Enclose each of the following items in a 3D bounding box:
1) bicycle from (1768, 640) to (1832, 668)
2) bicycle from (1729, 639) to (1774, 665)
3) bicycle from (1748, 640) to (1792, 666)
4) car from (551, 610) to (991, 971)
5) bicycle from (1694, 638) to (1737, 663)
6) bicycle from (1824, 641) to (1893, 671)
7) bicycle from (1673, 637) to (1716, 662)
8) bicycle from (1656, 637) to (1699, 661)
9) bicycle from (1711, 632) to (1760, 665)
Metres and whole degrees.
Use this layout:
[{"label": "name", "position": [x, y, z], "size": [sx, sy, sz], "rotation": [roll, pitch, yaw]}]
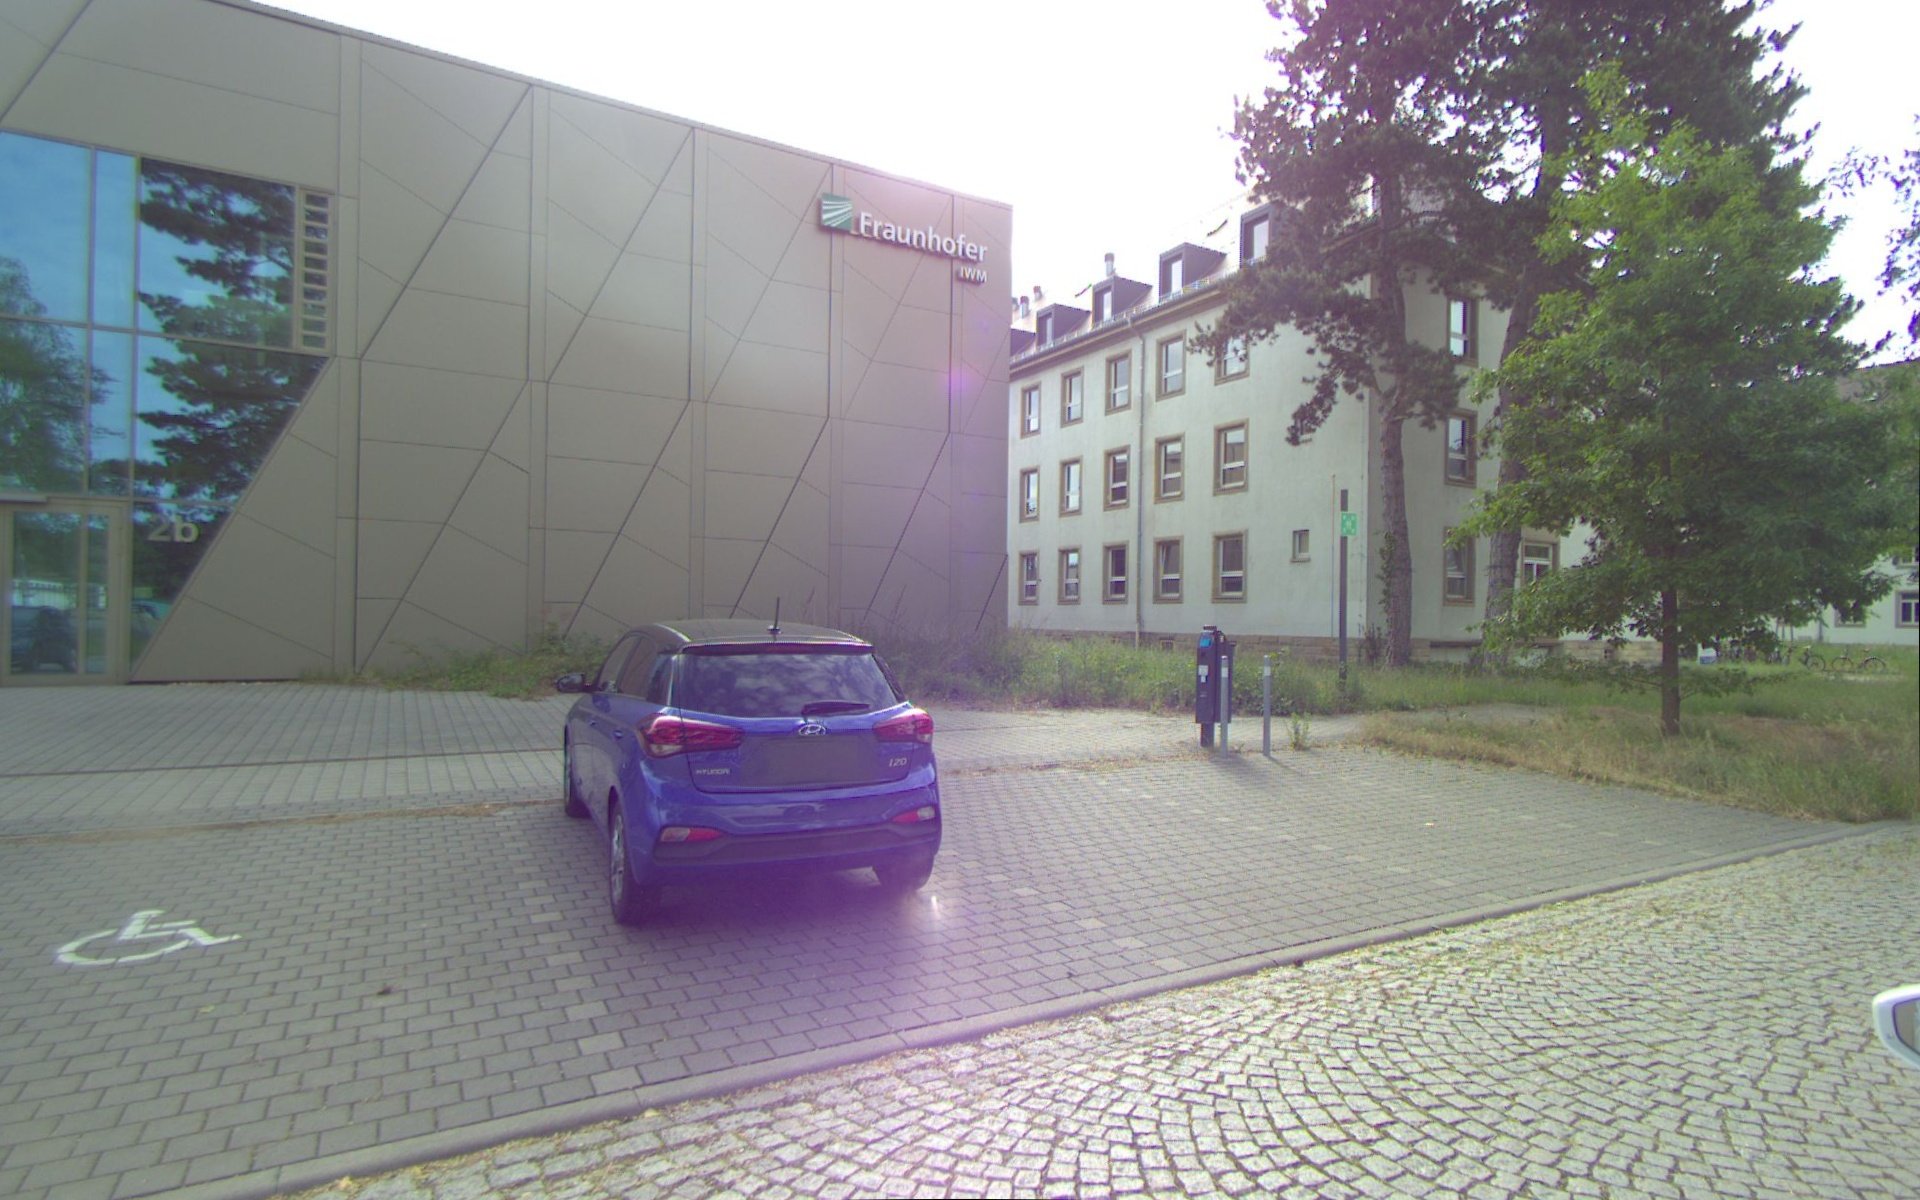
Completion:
[{"label": "bicycle", "position": [34.269, 2.193, 41.000], "size": [0.729, 1.090, 1.849], "rotation": [1, -1, -27]}, {"label": "bicycle", "position": [34.240, 2.259, 43.446], "size": [2.246, 1.090, 0.732], "rotation": [2, -1, -30]}, {"label": "bicycle", "position": [34.617, 2.248, 42.926], "size": [2.246, 1.090, 0.732], "rotation": [2, -1, -30]}, {"label": "car", "position": [-1.499, 0.873, 6.499], "size": [1.828, 1.498, 3.752], "rotation": [1, 0, -27]}, {"label": "bicycle", "position": [33.891, 2.268, 45.028], "size": [2.246, 1.090, 0.732], "rotation": [2, -1, -30]}, {"label": "bicycle", "position": [35.211, 2.186, 39.372], "size": [0.821, 1.090, 1.849], "rotation": [1, -1, -27]}, {"label": "bicycle", "position": [33.160, 2.236, 45.345], "size": [2.246, 1.090, 0.732], "rotation": [2, -1, -30]}, {"label": "bicycle", "position": [32.869, 2.241, 46.021], "size": [2.246, 1.090, 0.732], "rotation": [2, -1, -30]}, {"label": "bicycle", "position": [34.186, 2.125, 44.275], "size": [2.679, 1.404, 0.732], "rotation": [2, -1, -30]}]
